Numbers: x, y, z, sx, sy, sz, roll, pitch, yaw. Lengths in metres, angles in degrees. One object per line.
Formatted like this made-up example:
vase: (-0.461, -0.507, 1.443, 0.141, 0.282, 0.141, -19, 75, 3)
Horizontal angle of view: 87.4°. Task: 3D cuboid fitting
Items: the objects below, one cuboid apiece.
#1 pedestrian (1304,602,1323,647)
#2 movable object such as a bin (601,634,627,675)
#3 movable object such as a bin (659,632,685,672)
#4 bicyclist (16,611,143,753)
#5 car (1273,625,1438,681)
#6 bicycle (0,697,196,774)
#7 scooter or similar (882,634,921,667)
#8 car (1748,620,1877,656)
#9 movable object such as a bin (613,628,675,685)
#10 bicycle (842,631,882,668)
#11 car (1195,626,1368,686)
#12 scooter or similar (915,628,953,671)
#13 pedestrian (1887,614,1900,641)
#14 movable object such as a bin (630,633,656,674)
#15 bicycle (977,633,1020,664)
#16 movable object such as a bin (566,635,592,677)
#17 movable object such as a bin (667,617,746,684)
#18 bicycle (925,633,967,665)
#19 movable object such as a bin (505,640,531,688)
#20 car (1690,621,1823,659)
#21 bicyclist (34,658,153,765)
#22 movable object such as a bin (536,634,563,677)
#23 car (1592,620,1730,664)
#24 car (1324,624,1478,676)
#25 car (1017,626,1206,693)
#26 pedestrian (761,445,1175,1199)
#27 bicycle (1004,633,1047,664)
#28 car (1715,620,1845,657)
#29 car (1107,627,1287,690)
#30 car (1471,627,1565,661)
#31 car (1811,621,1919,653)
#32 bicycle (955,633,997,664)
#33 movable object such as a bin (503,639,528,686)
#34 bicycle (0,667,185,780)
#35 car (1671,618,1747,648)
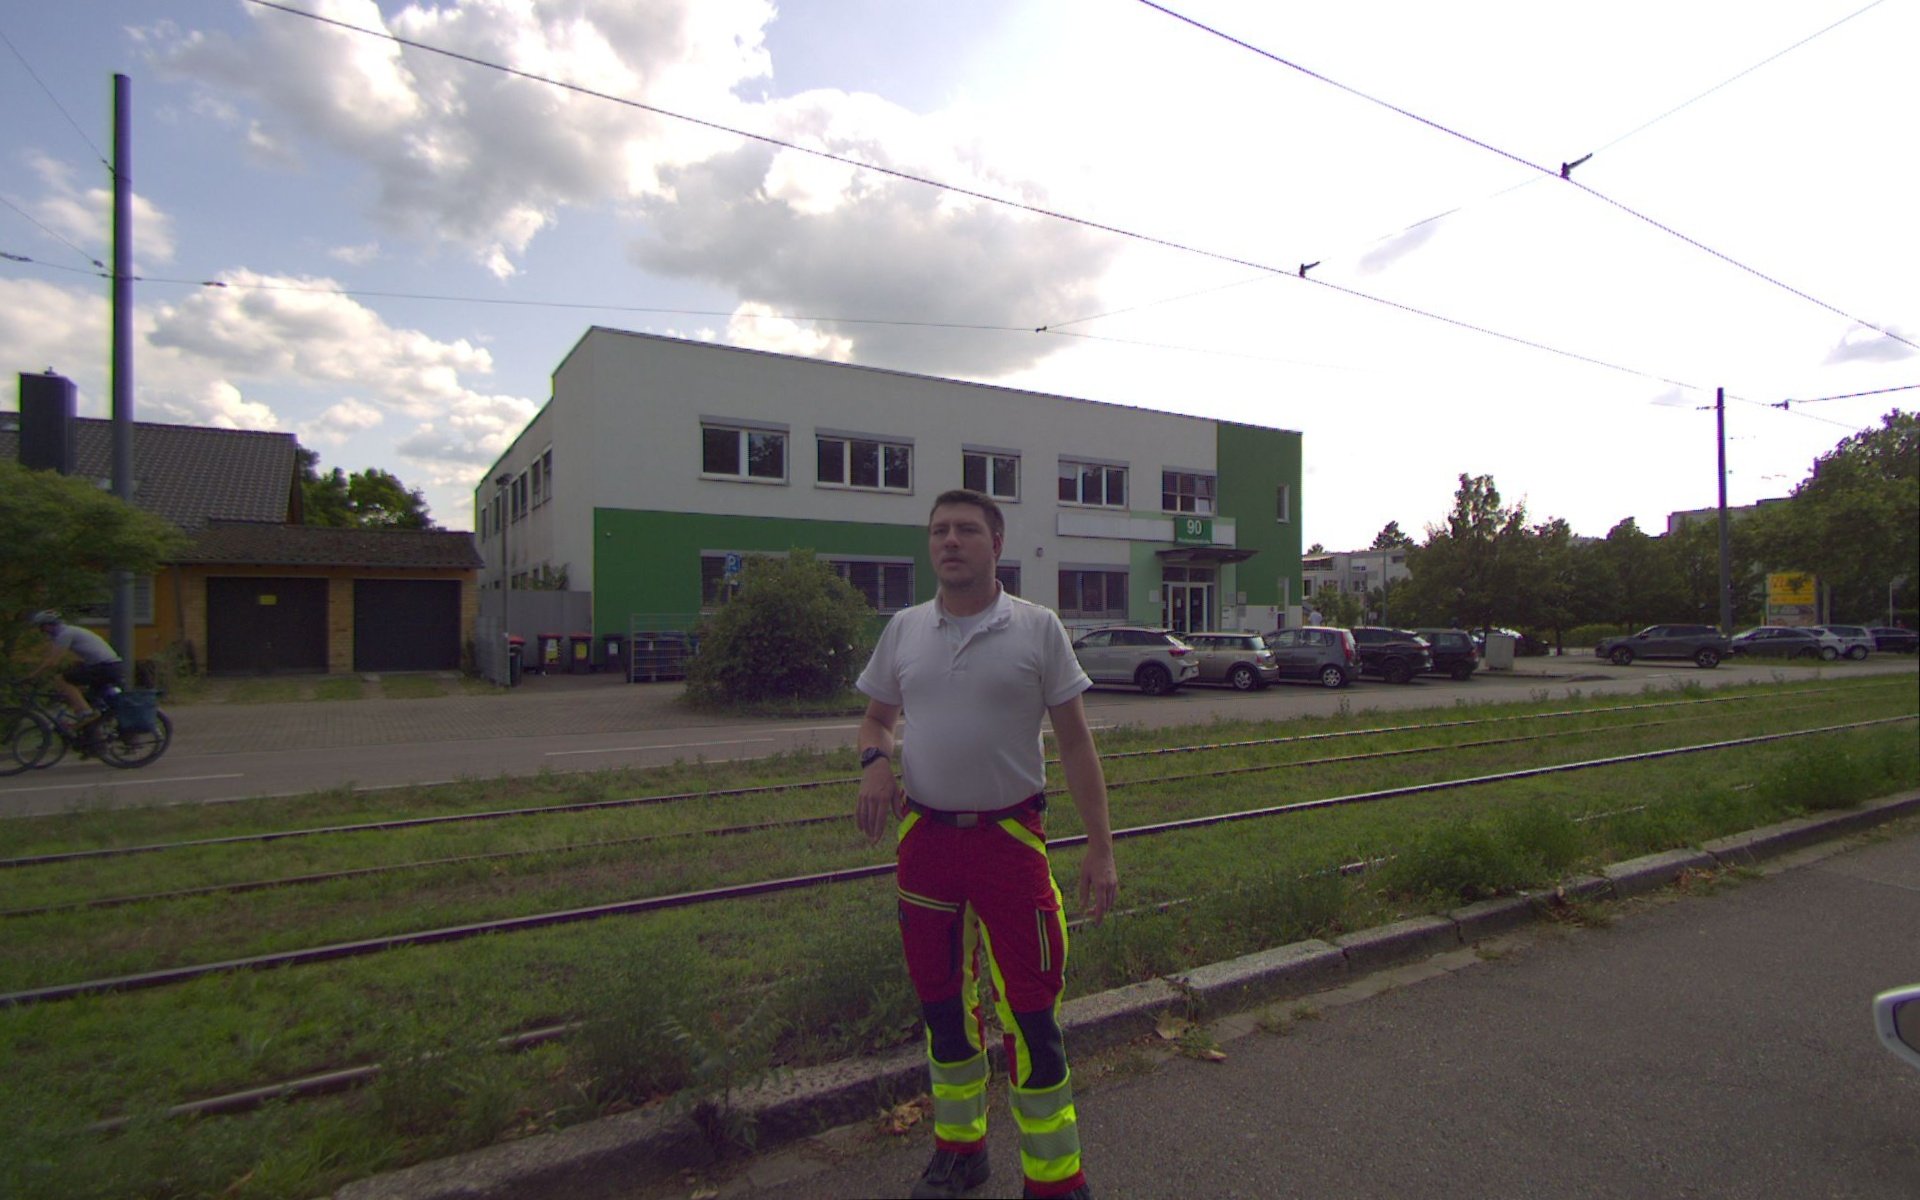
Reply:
pedestrian: (14.832, 1.038, 42.140, 0.503, 1.852, 0.543, 0, -1, -33)
movable object such as a bin: (-9.241, 1.457, 26.852, 0.558, 1.056, 0.565, -1, 1, -31)
movable object such as a bin: (-7.919, 1.415, 27.615, 0.558, 1.056, 0.565, -1, 1, -31)
bicyclist: (-9.521, 0.859, 10.899, 0.918, 1.477, 0.620, 0, -1, -31)
car: (11.331, 1.497, 28.831, 4.160, 1.501, 1.880, -1, -2, 30)
bicycle: (-9.902, 1.523, 11.480, 1.784, 0.727, 0.642, 1, -1, -31)
scooter or similar: (-1.804, 1.543, 30.983, 0.453, 0.911, 1.727, 1, 0, -30)
car: (39.392, 1.727, 46.526, 4.154, 1.502, 1.882, 1, -1, 23)
movable object such as a bin: (-7.591, 1.338, 24.105, 1.241, 1.251, 1.001, -1, 1, -29)
bicycle: (-2.940, 1.452, 30.006, 0.453, 0.999, 1.848, 1, 0, -30)
car: (8.703, 1.489, 27.271, 4.160, 1.501, 1.880, -1, -2, 30)
scooter or similar: (-0.776, 1.436, 29.605, 1.073, 1.171, 1.306, 1, 0, -2)
pedestrian: (60.652, 1.784, 65.243, 0.597, 1.699, 0.463, 0, -1, -33)
movable object such as a bin: (-8.581, 1.442, 27.225, 0.558, 1.056, 0.565, -1, 1, -31)
bicycle: (1.252, 1.575, 32.752, 0.453, 0.911, 1.848, 1, 0, -30)
movable object such as a bin: (-9.997, 1.452, 26.356, 0.558, 1.056, 0.565, -1, 1, -31)
movable object such as a bin: (-6.276, 1.224, 24.864, 1.691, 1.540, 1.001, -1, 1, -29)
bicycle: (-0.457, 1.525, 31.670, 0.453, 0.911, 1.848, 1, 0, -30)
movable object such as a bin: (-10.173, 1.475, 23.110, 0.476, 1.056, 0.502, -1, 1, -31)
car: (34.376, 1.704, 43.496, 4.154, 1.502, 1.882, 1, -1, 23)
bicyclist: (-9.887, 1.246, 11.495, 0.918, 1.127, 0.636, 0, -1, -30)
movable object such as a bin: (-10.606, 1.426, 25.956, 0.558, 1.056, 0.565, -1, 1, -31)
car: (26.182, 1.543, 37.664, 4.164, 1.502, 1.878, 0, -1, 34)
car: (13.535, 1.503, 30.873, 4.160, 1.501, 1.880, -1, -2, 30)
car: (3.643, 1.389, 24.226, 4.155, 1.501, 1.882, -1, -1, 25)
pedestrian: (0.042, 0.563, 2.360, 0.790, 1.709, 0.851, 0, 0, 4)
bicycle: (2.163, 1.594, 33.262, 0.453, 0.911, 1.848, 1, 0, -30)
car: (36.724, 1.689, 45.135, 4.154, 1.502, 1.882, 1, -1, 23)
car: (6.079, 1.468, 25.856, 4.160, 1.501, 1.880, -1, -2, 30)
car: (29.205, 2.259, 52.674, 1.755, 1.586, 3.970, 2, 0, -28)
car: (46.188, 1.858, 50.967, 4.151, 1.502, 1.883, 1, 0, 19)
bicycle: (0.491, 1.553, 32.290, 0.453, 0.911, 1.848, 1, 0, -30)
movable object such as a bin: (-10.451, 1.469, 23.593, 0.474, 1.056, 0.491, -1, 1, -31)
bicycle: (-9.564, 1.312, 10.866, 1.784, 1.094, 0.642, 1, -1, -31)
car: (48.550, 2.090, 65.233, 1.960, 1.773, 4.000, 1, 0, 0)
